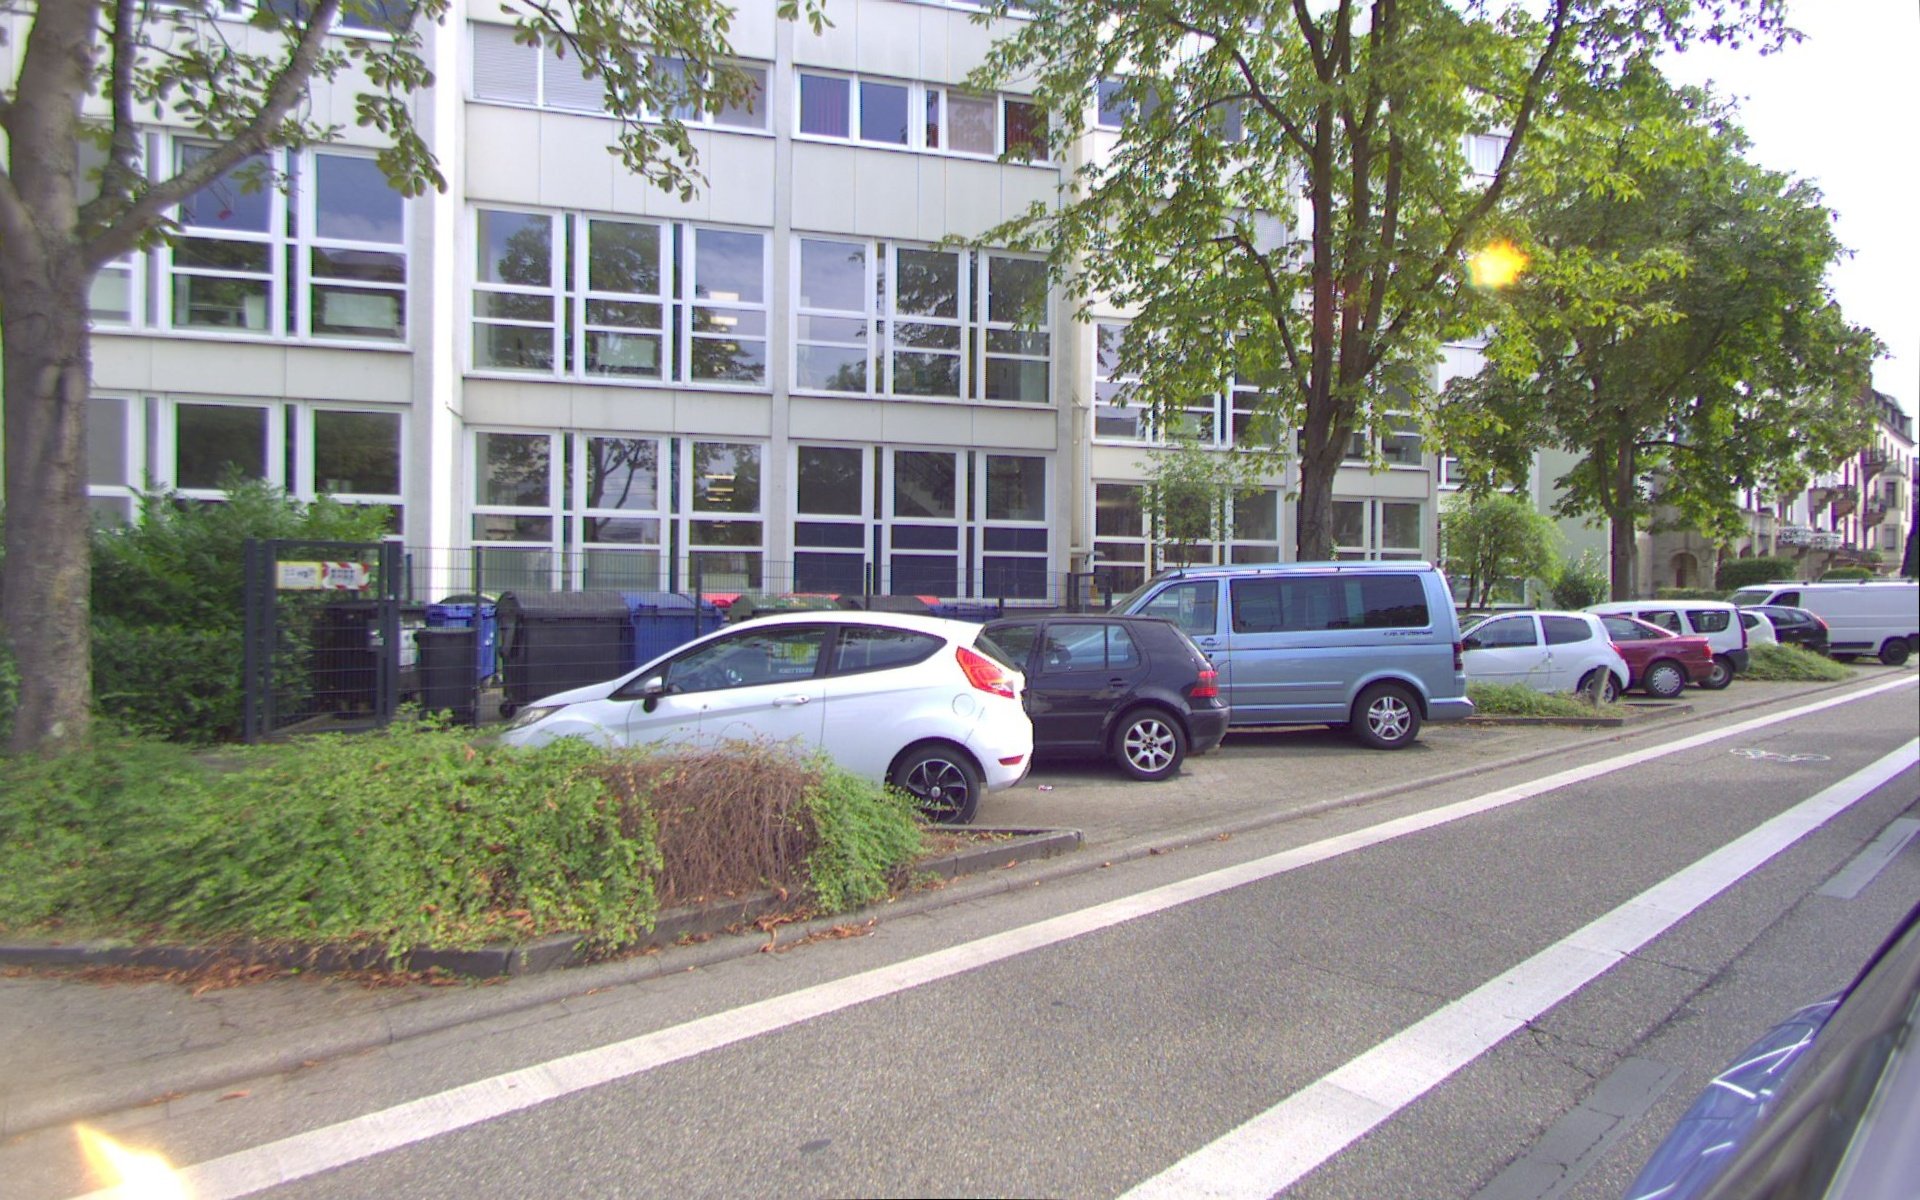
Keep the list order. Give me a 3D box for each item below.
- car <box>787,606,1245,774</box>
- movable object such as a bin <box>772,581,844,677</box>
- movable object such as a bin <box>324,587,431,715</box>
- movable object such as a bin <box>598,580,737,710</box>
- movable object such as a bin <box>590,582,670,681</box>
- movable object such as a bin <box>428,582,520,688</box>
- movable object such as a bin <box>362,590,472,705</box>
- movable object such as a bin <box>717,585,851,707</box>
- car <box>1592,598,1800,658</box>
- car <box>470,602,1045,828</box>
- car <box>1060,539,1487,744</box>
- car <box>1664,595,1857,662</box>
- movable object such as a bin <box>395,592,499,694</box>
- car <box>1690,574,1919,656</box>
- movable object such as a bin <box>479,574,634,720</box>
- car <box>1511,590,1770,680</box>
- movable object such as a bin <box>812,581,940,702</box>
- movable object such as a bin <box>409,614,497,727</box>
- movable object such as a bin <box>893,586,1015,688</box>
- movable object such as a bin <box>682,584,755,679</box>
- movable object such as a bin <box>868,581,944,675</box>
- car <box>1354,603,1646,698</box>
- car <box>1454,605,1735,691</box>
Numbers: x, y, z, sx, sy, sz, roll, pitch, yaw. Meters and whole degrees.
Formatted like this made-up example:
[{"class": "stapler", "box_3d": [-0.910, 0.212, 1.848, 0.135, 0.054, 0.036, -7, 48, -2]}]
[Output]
[{"class": "car", "box_3d": [0.502, 0.773, 9.556, 3.902, 1.405, 1.812, 0, -1, 5]}, {"class": "movable object such as a bin", "box_3d": [-2.632, 0.478, 17.447, 1.150, 1.588, 1.182, 0, 0, -12]}, {"class": "movable object such as a bin", "box_3d": [-6.782, 0.562, 11.838, 0.893, 1.425, 1.026, 0, 0, -19]}, {"class": "movable object such as a bin", "box_3d": [-3.688, 0.520, 12.735, 1.312, 1.523, 1.335, 0, 0, -36]}, {"class": "movable object such as a bin", "box_3d": [-5.483, 0.500, 16.910, 1.150, 1.588, 1.182, 0, 0, -12]}, {"class": "movable object such as a bin", "box_3d": [-7.566, 0.520, 15.814, 1.155, 1.588, 1.177, 0, 0, -19]}, {"class": "movable object such as a bin", "box_3d": [-7.017, 0.584, 13.153, 1.095, 1.409, 1.065, 0, 0, -19]}, {"class": "movable object such as a bin", "box_3d": [-2.380, 0.575, 13.614, 1.328, 1.521, 1.335, 0, 0, -36]}, {"class": "car", "box_3d": [17.395, 0.640, 24.078, 3.580, 1.347, 1.766, 0, 0, 5]}, {"class": "car", "box_3d": [-1.306, 0.731, 7.380, 3.792, 1.410, 1.632, 0, 0, 4]}, {"class": "car", "box_3d": [3.311, 0.403, 11.493, 4.268, 2.090, 1.998, 0, 0, 5]}, {"class": "car", "box_3d": [20.741, 0.697, 26.412, 3.605, 1.609, 1.753, 0, 0, 24]}, {"class": "movable object such as a bin", "box_3d": [-7.294, 0.578, 14.464, 1.155, 1.387, 1.177, 0, 0, -19]}, {"class": "car", "box_3d": [23.940, 0.382, 28.243, 5.349, 2.203, 2.143, 0, 0, 9]}, {"class": "movable object such as a bin", "box_3d": [-4.680, 0.497, 11.710, 1.389, 1.549, 1.330, 0, 0, -36]}, {"class": "car", "box_3d": [13.009, 0.620, 19.580, 3.708, 1.638, 1.810, 0, 0, 9]}, {"class": "movable object such as a bin", "box_3d": [-1.207, 0.554, 14.468, 1.328, 1.616, 1.335, 0, 0, -36]}, {"class": "movable object such as a bin", "box_3d": [-5.377, 0.712, 10.723, 0.729, 1.119, 0.786, 0, 0, -34]}, {"class": "movable object such as a bin", "box_3d": [-0.100, 0.529, 15.532, 1.374, 1.477, 1.335, 0, 0, -36]}, {"class": "movable object such as a bin", "box_3d": [-4.050, 0.504, 17.052, 1.150, 1.533, 1.182, 0, 0, -12]}, {"class": "movable object such as a bin", "box_3d": [-0.963, 0.464, 17.749, 1.150, 1.588, 1.182, 0, 0, -12]}, {"class": "car", "box_3d": [8.252, 0.732, 15.742, 3.580, 1.347, 1.766, 0, 0, 5]}, {"class": "car", "box_3d": [10.890, 0.792, 17.643, 3.708, 1.355, 1.810, 0, 0, 9]}]
